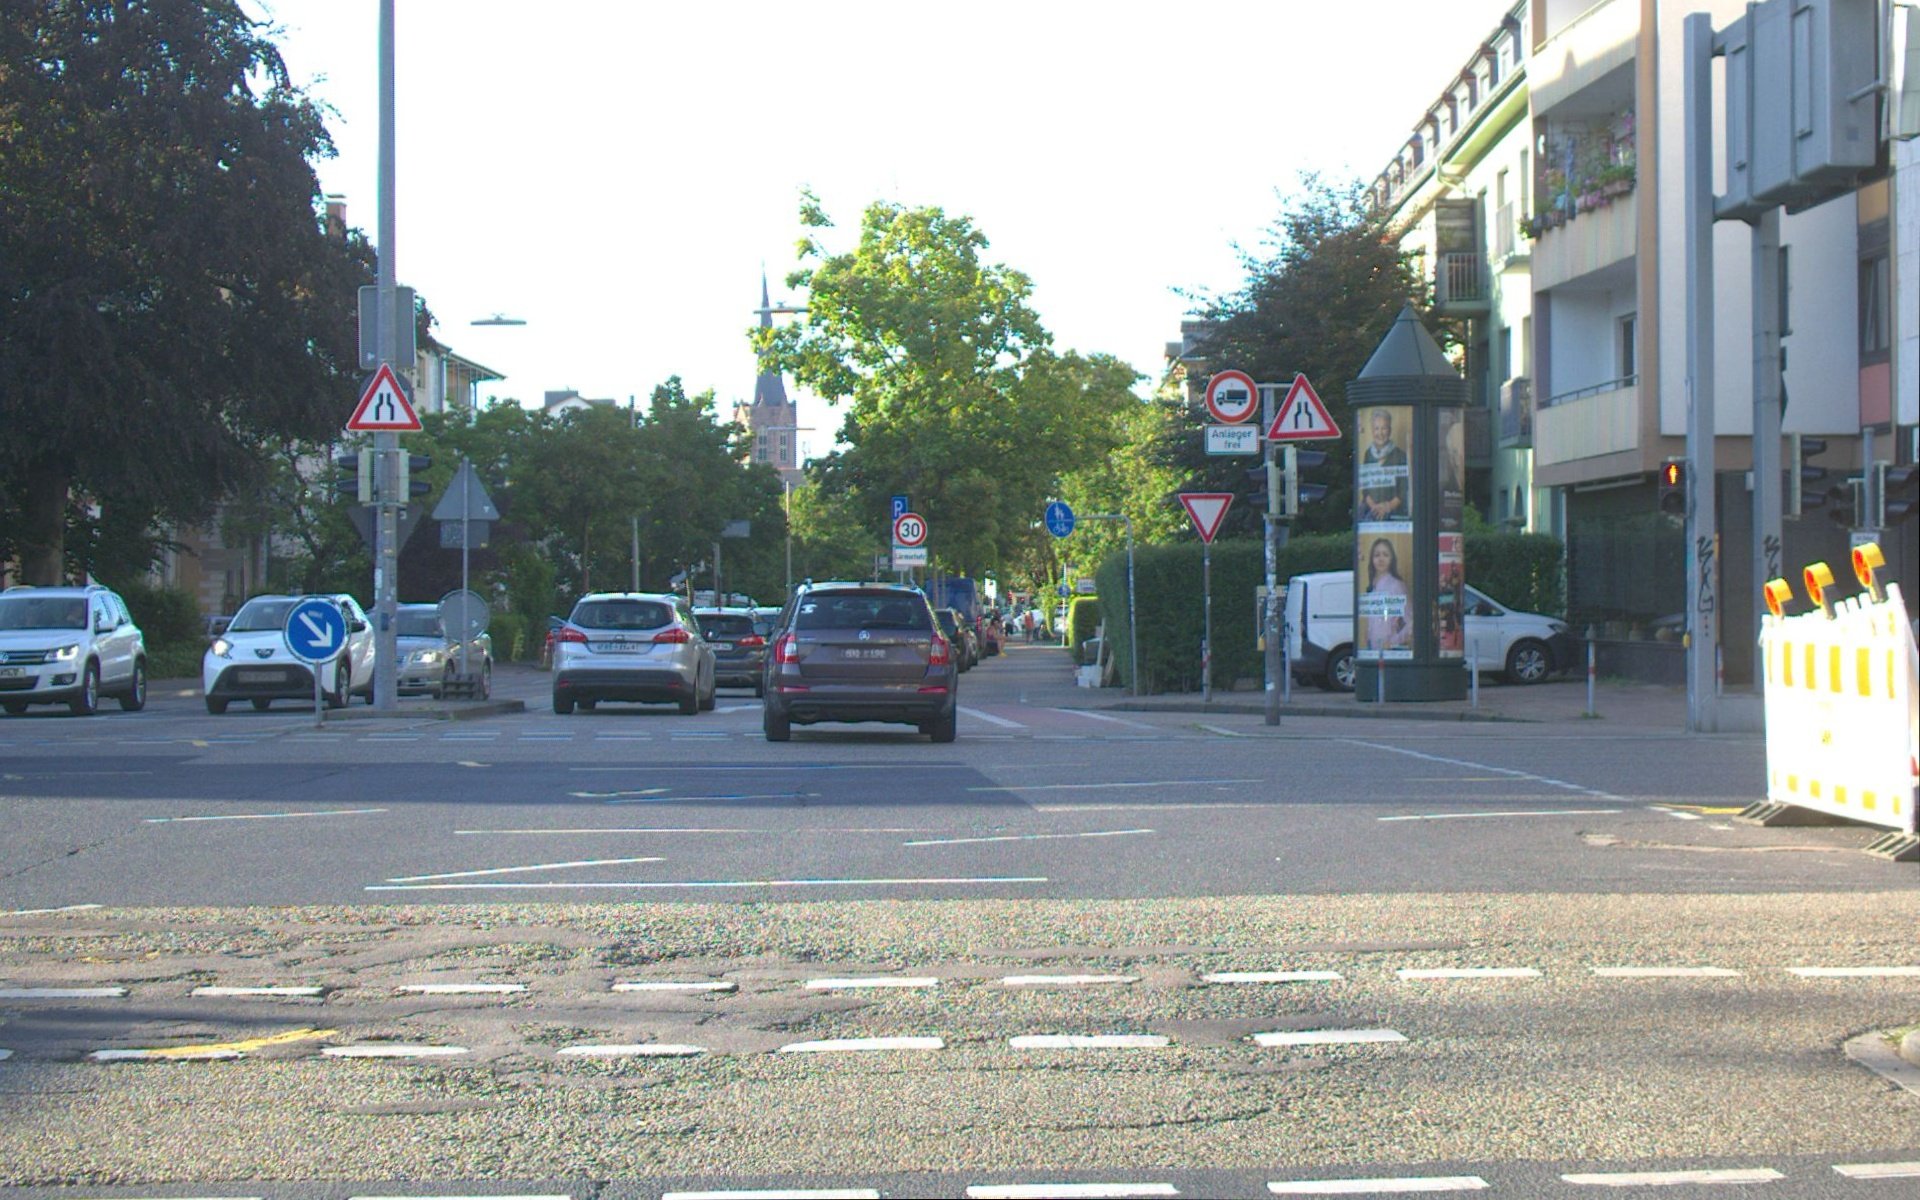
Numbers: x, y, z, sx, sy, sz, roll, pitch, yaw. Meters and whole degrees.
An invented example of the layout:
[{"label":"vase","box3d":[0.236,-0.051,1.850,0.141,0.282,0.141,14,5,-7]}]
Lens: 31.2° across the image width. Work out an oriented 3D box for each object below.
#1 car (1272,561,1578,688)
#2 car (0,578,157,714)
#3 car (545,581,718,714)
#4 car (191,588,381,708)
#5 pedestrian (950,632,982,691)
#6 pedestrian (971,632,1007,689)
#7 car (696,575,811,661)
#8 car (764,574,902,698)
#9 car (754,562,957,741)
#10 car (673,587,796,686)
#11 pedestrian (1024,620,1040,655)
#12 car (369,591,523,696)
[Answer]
[{"label":"car","box3d":[7.059,0.364,52.519,4.363,1.871,2.000,0,0,-1]},{"label":"car","box3d":[-11.579,0.554,43.890,1.880,1.648,4.050,0,0,-3]},{"label":"car","box3d":[-4.047,0.552,42.912,1.748,1.559,4.050,0,0,0]},{"label":"car","box3d":[-8.648,0.583,44.389,1.847,1.456,4.050,0,0,-3]},{"label":"pedestrian","box3d":[0.159,1.679,94.528,0.862,1.602,0.705,0,0,-2]},{"label":"pedestrian","box3d":[1.044,2.162,123.319,1.209,2.007,1.422,0,0,-2]},{"label":"car","box3d":[-3.905,0.363,65.611,1.993,1.503,4.000,-2,-2,-1]},{"label":"car","box3d":[-1.723,0.467,47.440,1.819,1.634,4.000,0,0,-1]},{"label":"car","box3d":[-0.912,0.435,32.017,1.748,1.559,4.050,0,0,0]},{"label":"car","box3d":[-3.717,0.576,57.228,1.748,1.559,4.050,0,0,0]},{"label":"pedestrian","box3d":[3.530,1.826,168.401,0.766,1.678,0.999,0,0,-1]},{"label":"car","box3d":[-7.534,0.616,50.695,1.847,1.456,4.050,0,0,-3]}]
